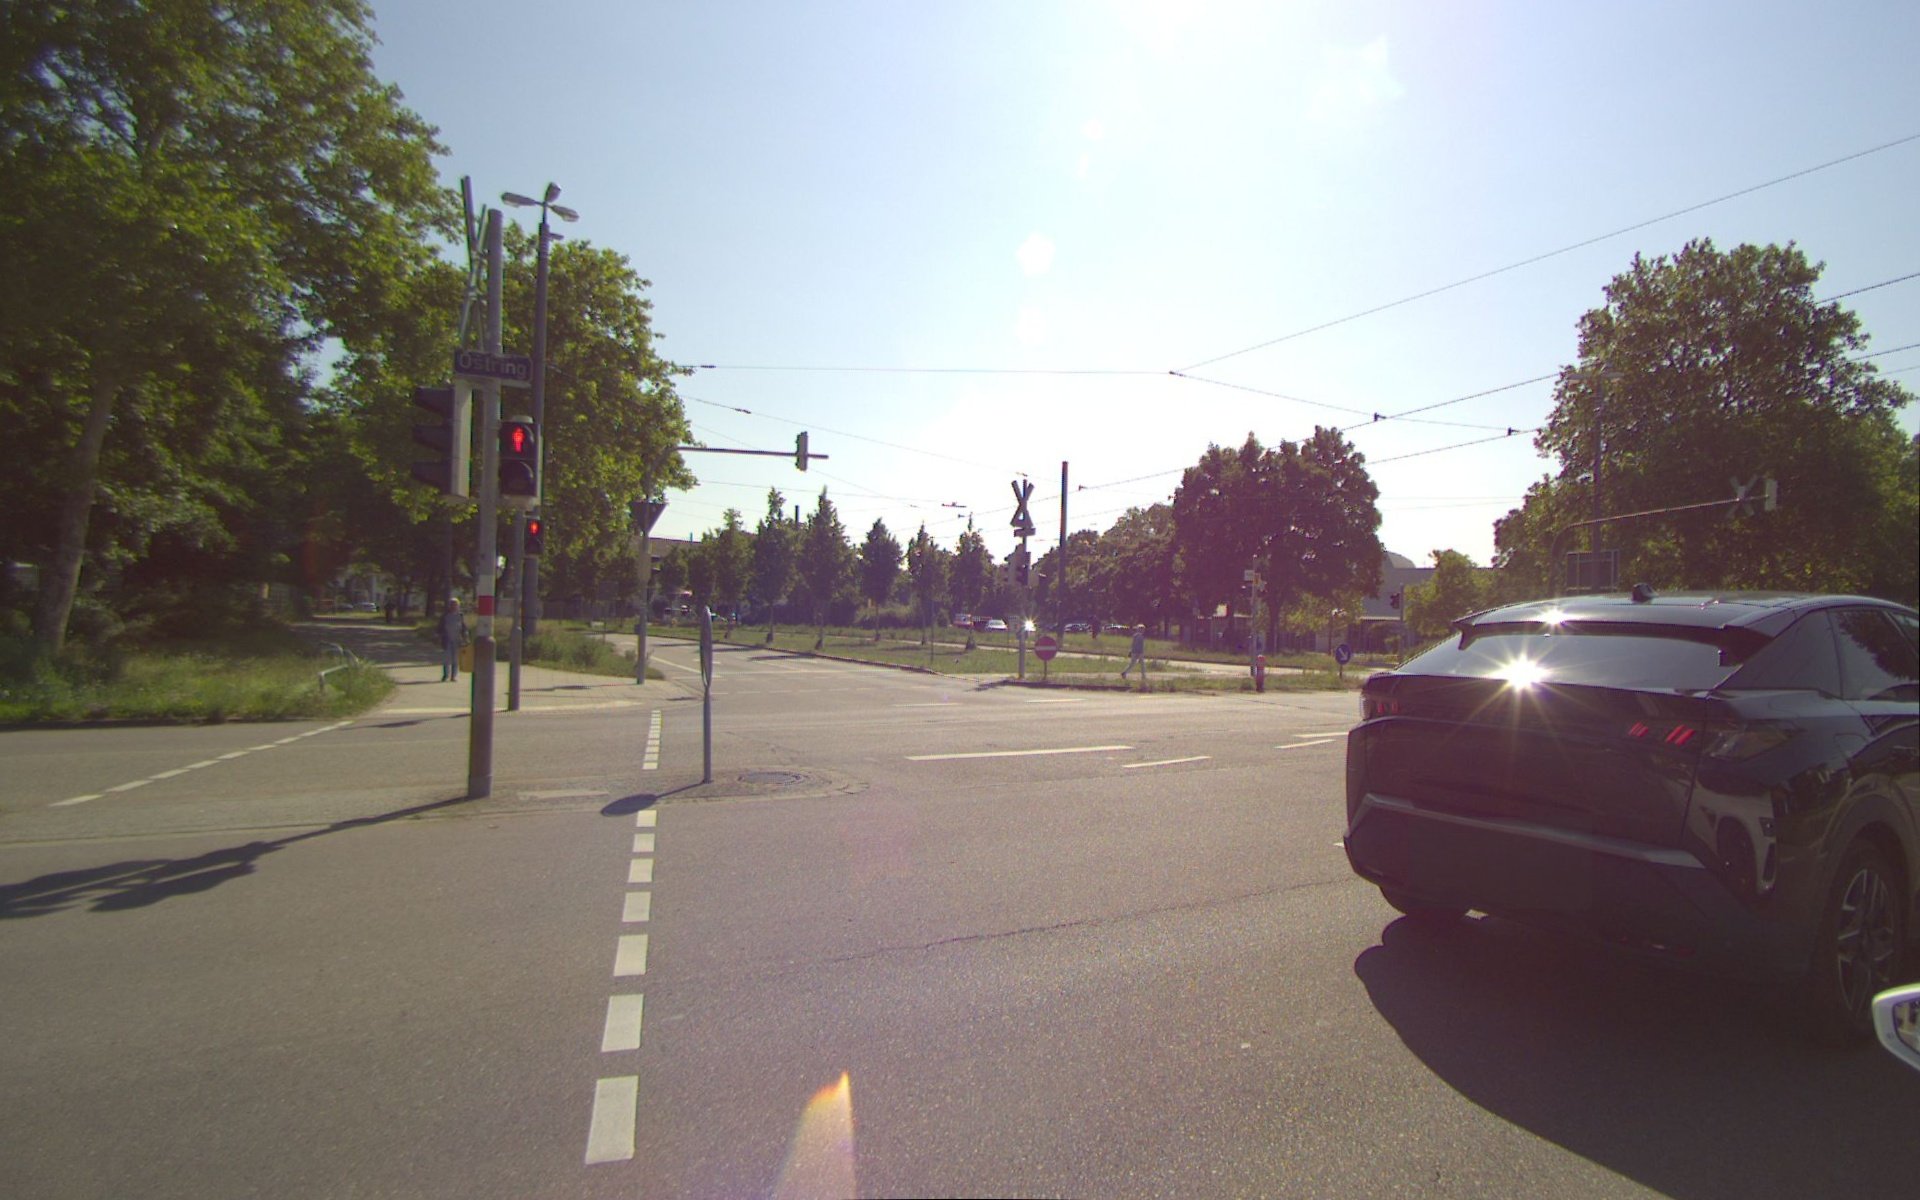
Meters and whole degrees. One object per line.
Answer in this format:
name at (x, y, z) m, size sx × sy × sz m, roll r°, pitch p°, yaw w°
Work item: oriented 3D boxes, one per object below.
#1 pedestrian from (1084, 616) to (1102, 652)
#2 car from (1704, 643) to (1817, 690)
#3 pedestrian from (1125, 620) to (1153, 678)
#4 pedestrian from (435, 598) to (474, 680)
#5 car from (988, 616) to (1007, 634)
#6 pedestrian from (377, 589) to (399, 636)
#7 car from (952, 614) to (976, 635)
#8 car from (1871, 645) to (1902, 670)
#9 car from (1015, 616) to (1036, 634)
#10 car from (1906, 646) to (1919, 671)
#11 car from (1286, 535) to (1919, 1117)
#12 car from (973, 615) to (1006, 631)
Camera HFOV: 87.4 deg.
pedestrian at (7.760, 1.974, 58.654) m, size 0.783 × 2.040 × 0.709 m, roll 0°, pitch -1°, yaw 38°
car at (28.283, 2.334, 35.445) m, size 4.609 × 1.528 × 1.685 m, roll 2°, pitch -1°, yaw -32°
pedestrian at (4.969, 1.348, 27.853) m, size 0.658 × 1.581 × 0.365 m, roll 2°, pitch -1°, yaw -14°
pedestrian at (-9.748, 0.750, 19.369) m, size 0.563 × 1.554 × 0.601 m, roll 2°, pitch -1°, yaw -35°
car at (3.238, 2.113, 86.322) m, size 1.323 × 1.465 × 3.340 m, roll 2°, pitch -1°, yaw -3°
pedestrian at (-26.207, 0.563, 46.037) m, size 0.748 × 2.118 × 0.612 m, roll 2°, pitch -1°, yaw -36°
car at (0.316, 2.081, 86.995) m, size 1.780 × 1.725 × 3.986 m, roll 2°, pitch -1°, yaw -3°
car at (103.221, 6.360, 111.955) m, size 2.036 × 2.647 × 7.185 m, roll -1°, pitch -3°, yaw 39°
car at (5.640, 2.181, 86.445) m, size 1.420 × 1.465 × 3.340 m, roll 2°, pitch -1°, yaw -3°
car at (63.014, 3.791, 65.196) m, size 4.394 × 1.610 × 1.696 m, roll 2°, pitch -3°, yaw -38°
car at (3.841, 0.740, 4.916) m, size 4.385 × 1.718 × 1.863 m, roll 2°, pitch -1°, yaw -31°
car at (3.706, 2.835, 125.148) m, size 3.856 × 1.863 × 1.768 m, roll 2°, pitch -1°, yaw -8°
